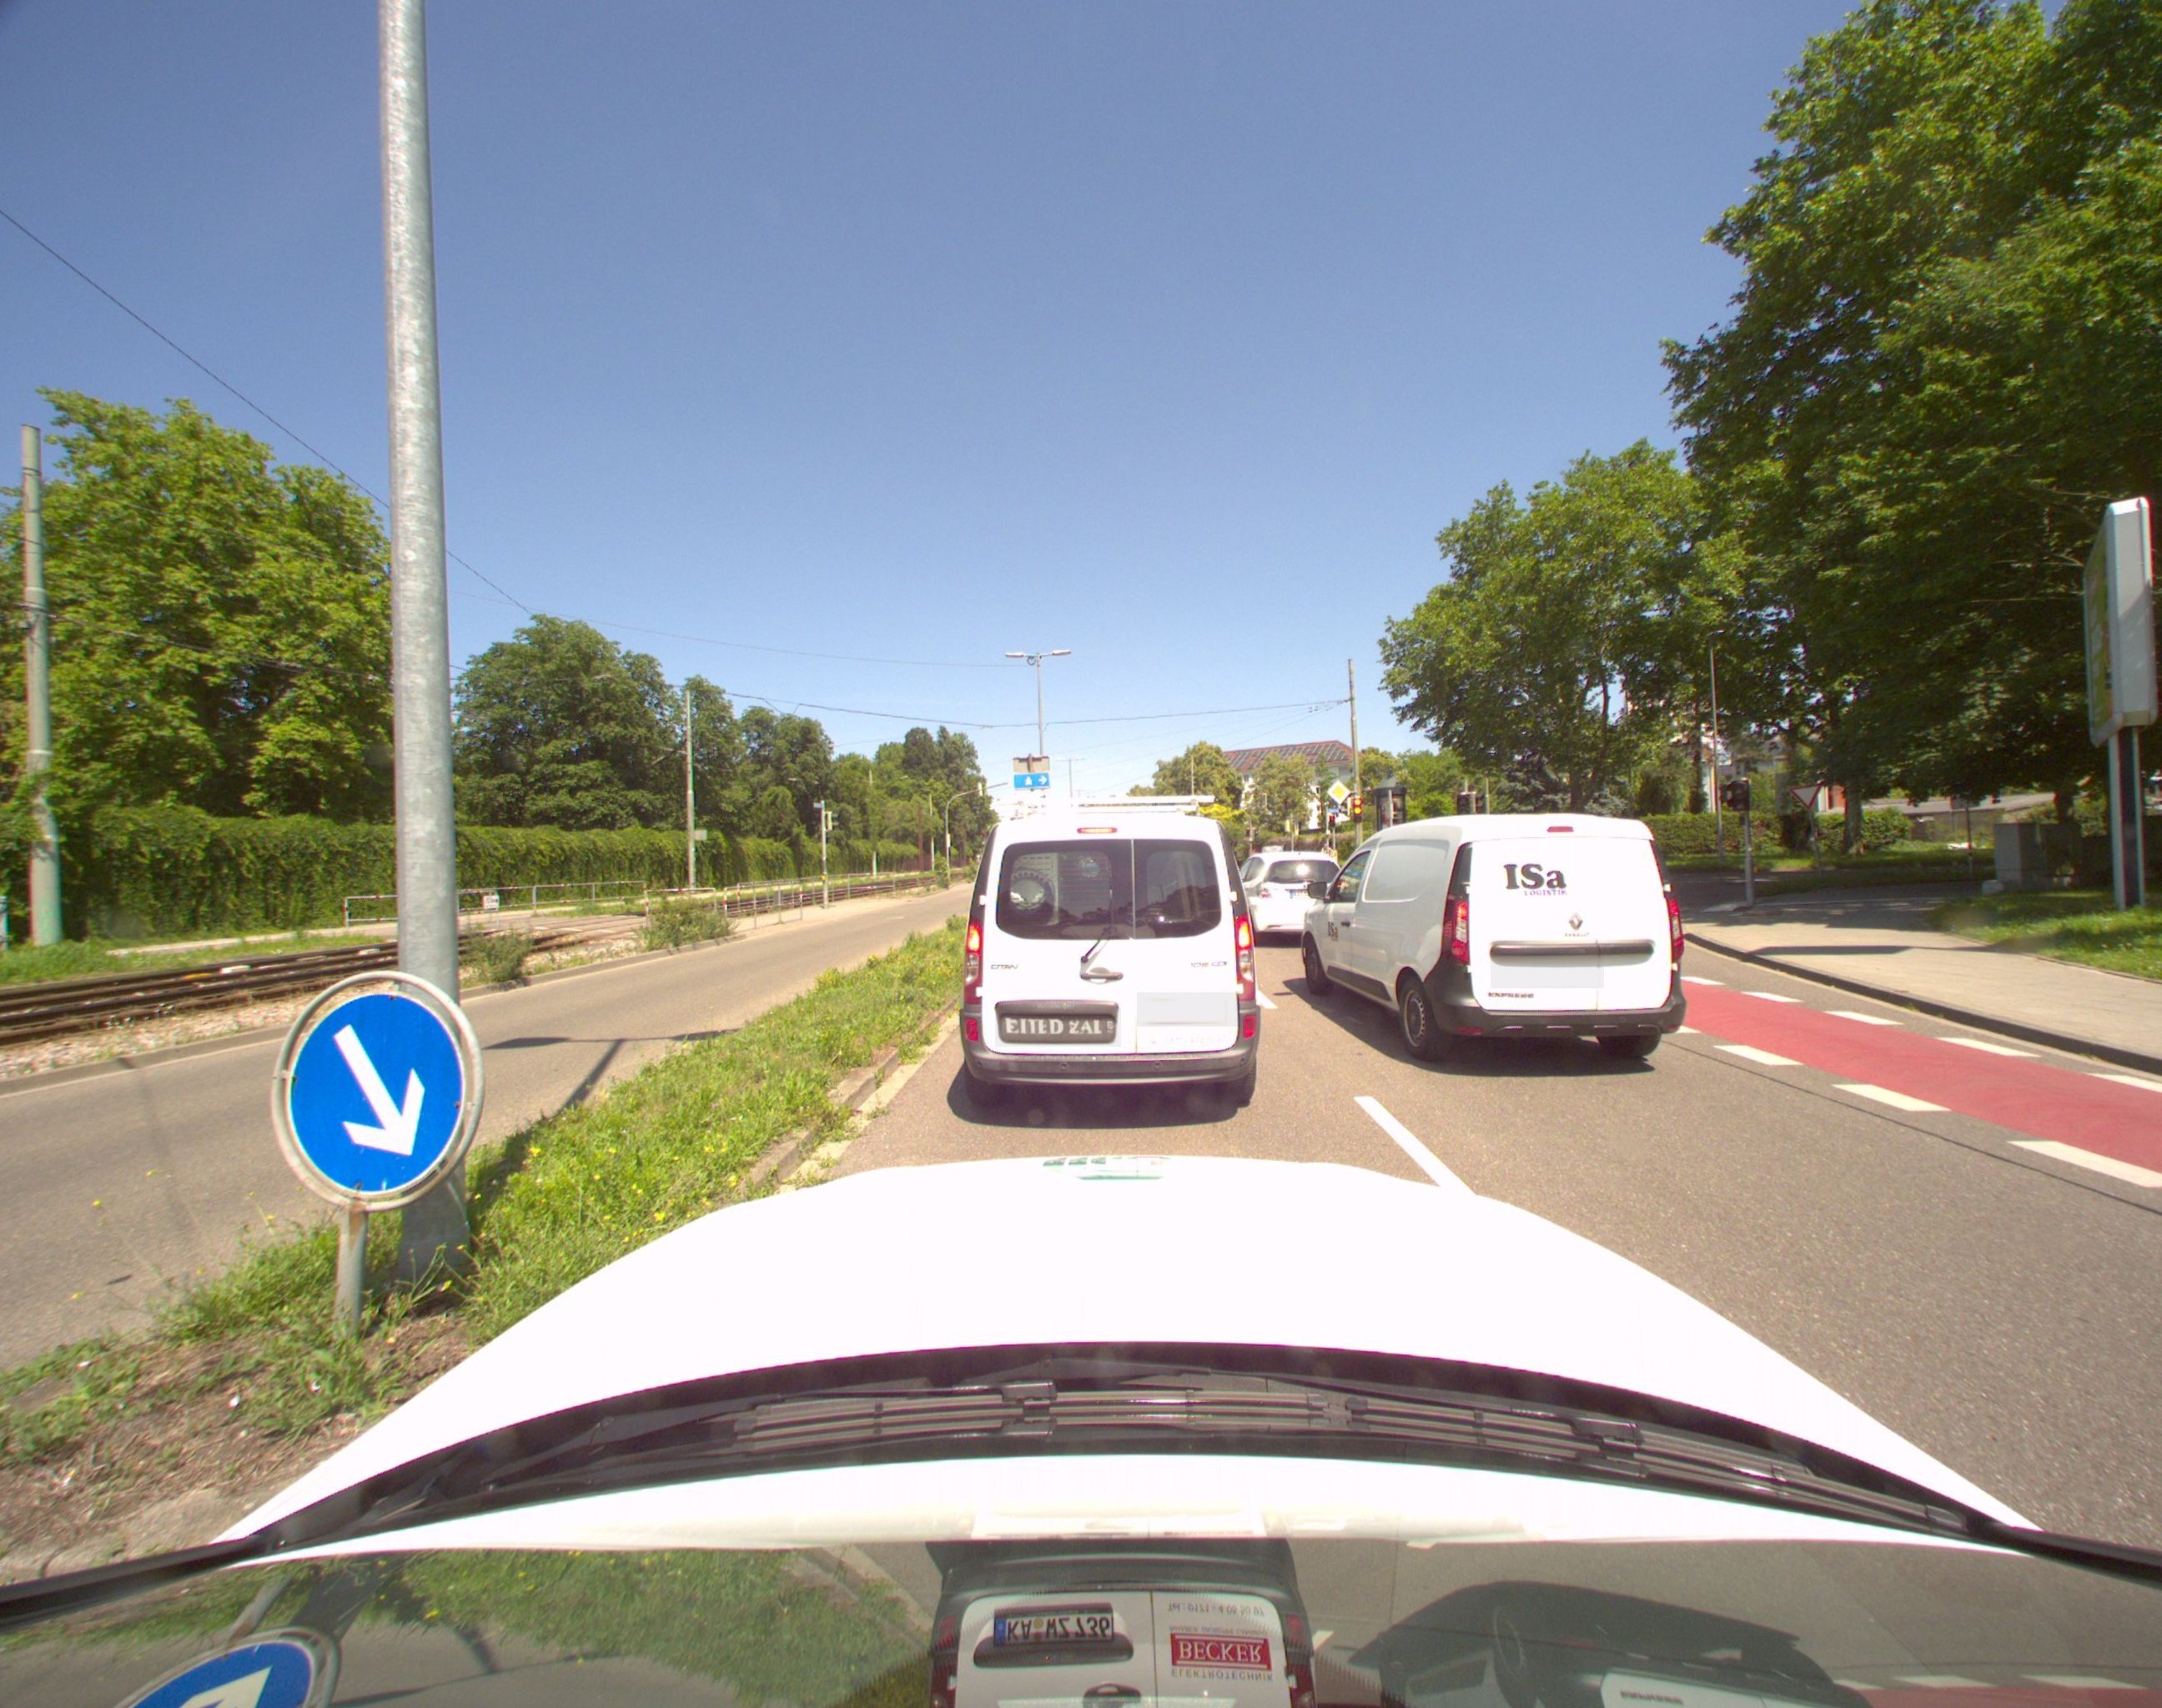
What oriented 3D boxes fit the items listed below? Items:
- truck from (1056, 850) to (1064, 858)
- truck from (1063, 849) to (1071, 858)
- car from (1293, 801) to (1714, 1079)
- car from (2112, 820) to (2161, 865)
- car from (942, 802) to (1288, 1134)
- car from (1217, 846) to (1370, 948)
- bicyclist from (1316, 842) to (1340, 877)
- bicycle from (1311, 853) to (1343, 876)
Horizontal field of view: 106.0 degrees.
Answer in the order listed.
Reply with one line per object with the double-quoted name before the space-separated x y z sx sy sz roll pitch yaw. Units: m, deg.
"truck" -6.816 0.018 259.977 2.131 2.587 5.891 0 -1 2
"truck" -4.182 -0.069 251.477 2.131 2.587 5.891 0 -1 2
"car" 3.264 0.565 7.309 1.721 1.788 4.065 0 0 1
"car" 38.790 -0.434 27.984 3.962 1.520 1.758 -2 -1 10
"car" 0.250 0.614 6.544 1.814 1.739 4.398 -1 0 2
"car" 3.643 0.657 14.670 1.828 1.568 4.002 0 0 2
"bicyclist" 12.969 0.280 42.816 0.972 1.788 0.724 -1 -1 -7
"bicycle" 12.939 0.573 42.837 0.891 1.159 1.951 -1 -1 -7
